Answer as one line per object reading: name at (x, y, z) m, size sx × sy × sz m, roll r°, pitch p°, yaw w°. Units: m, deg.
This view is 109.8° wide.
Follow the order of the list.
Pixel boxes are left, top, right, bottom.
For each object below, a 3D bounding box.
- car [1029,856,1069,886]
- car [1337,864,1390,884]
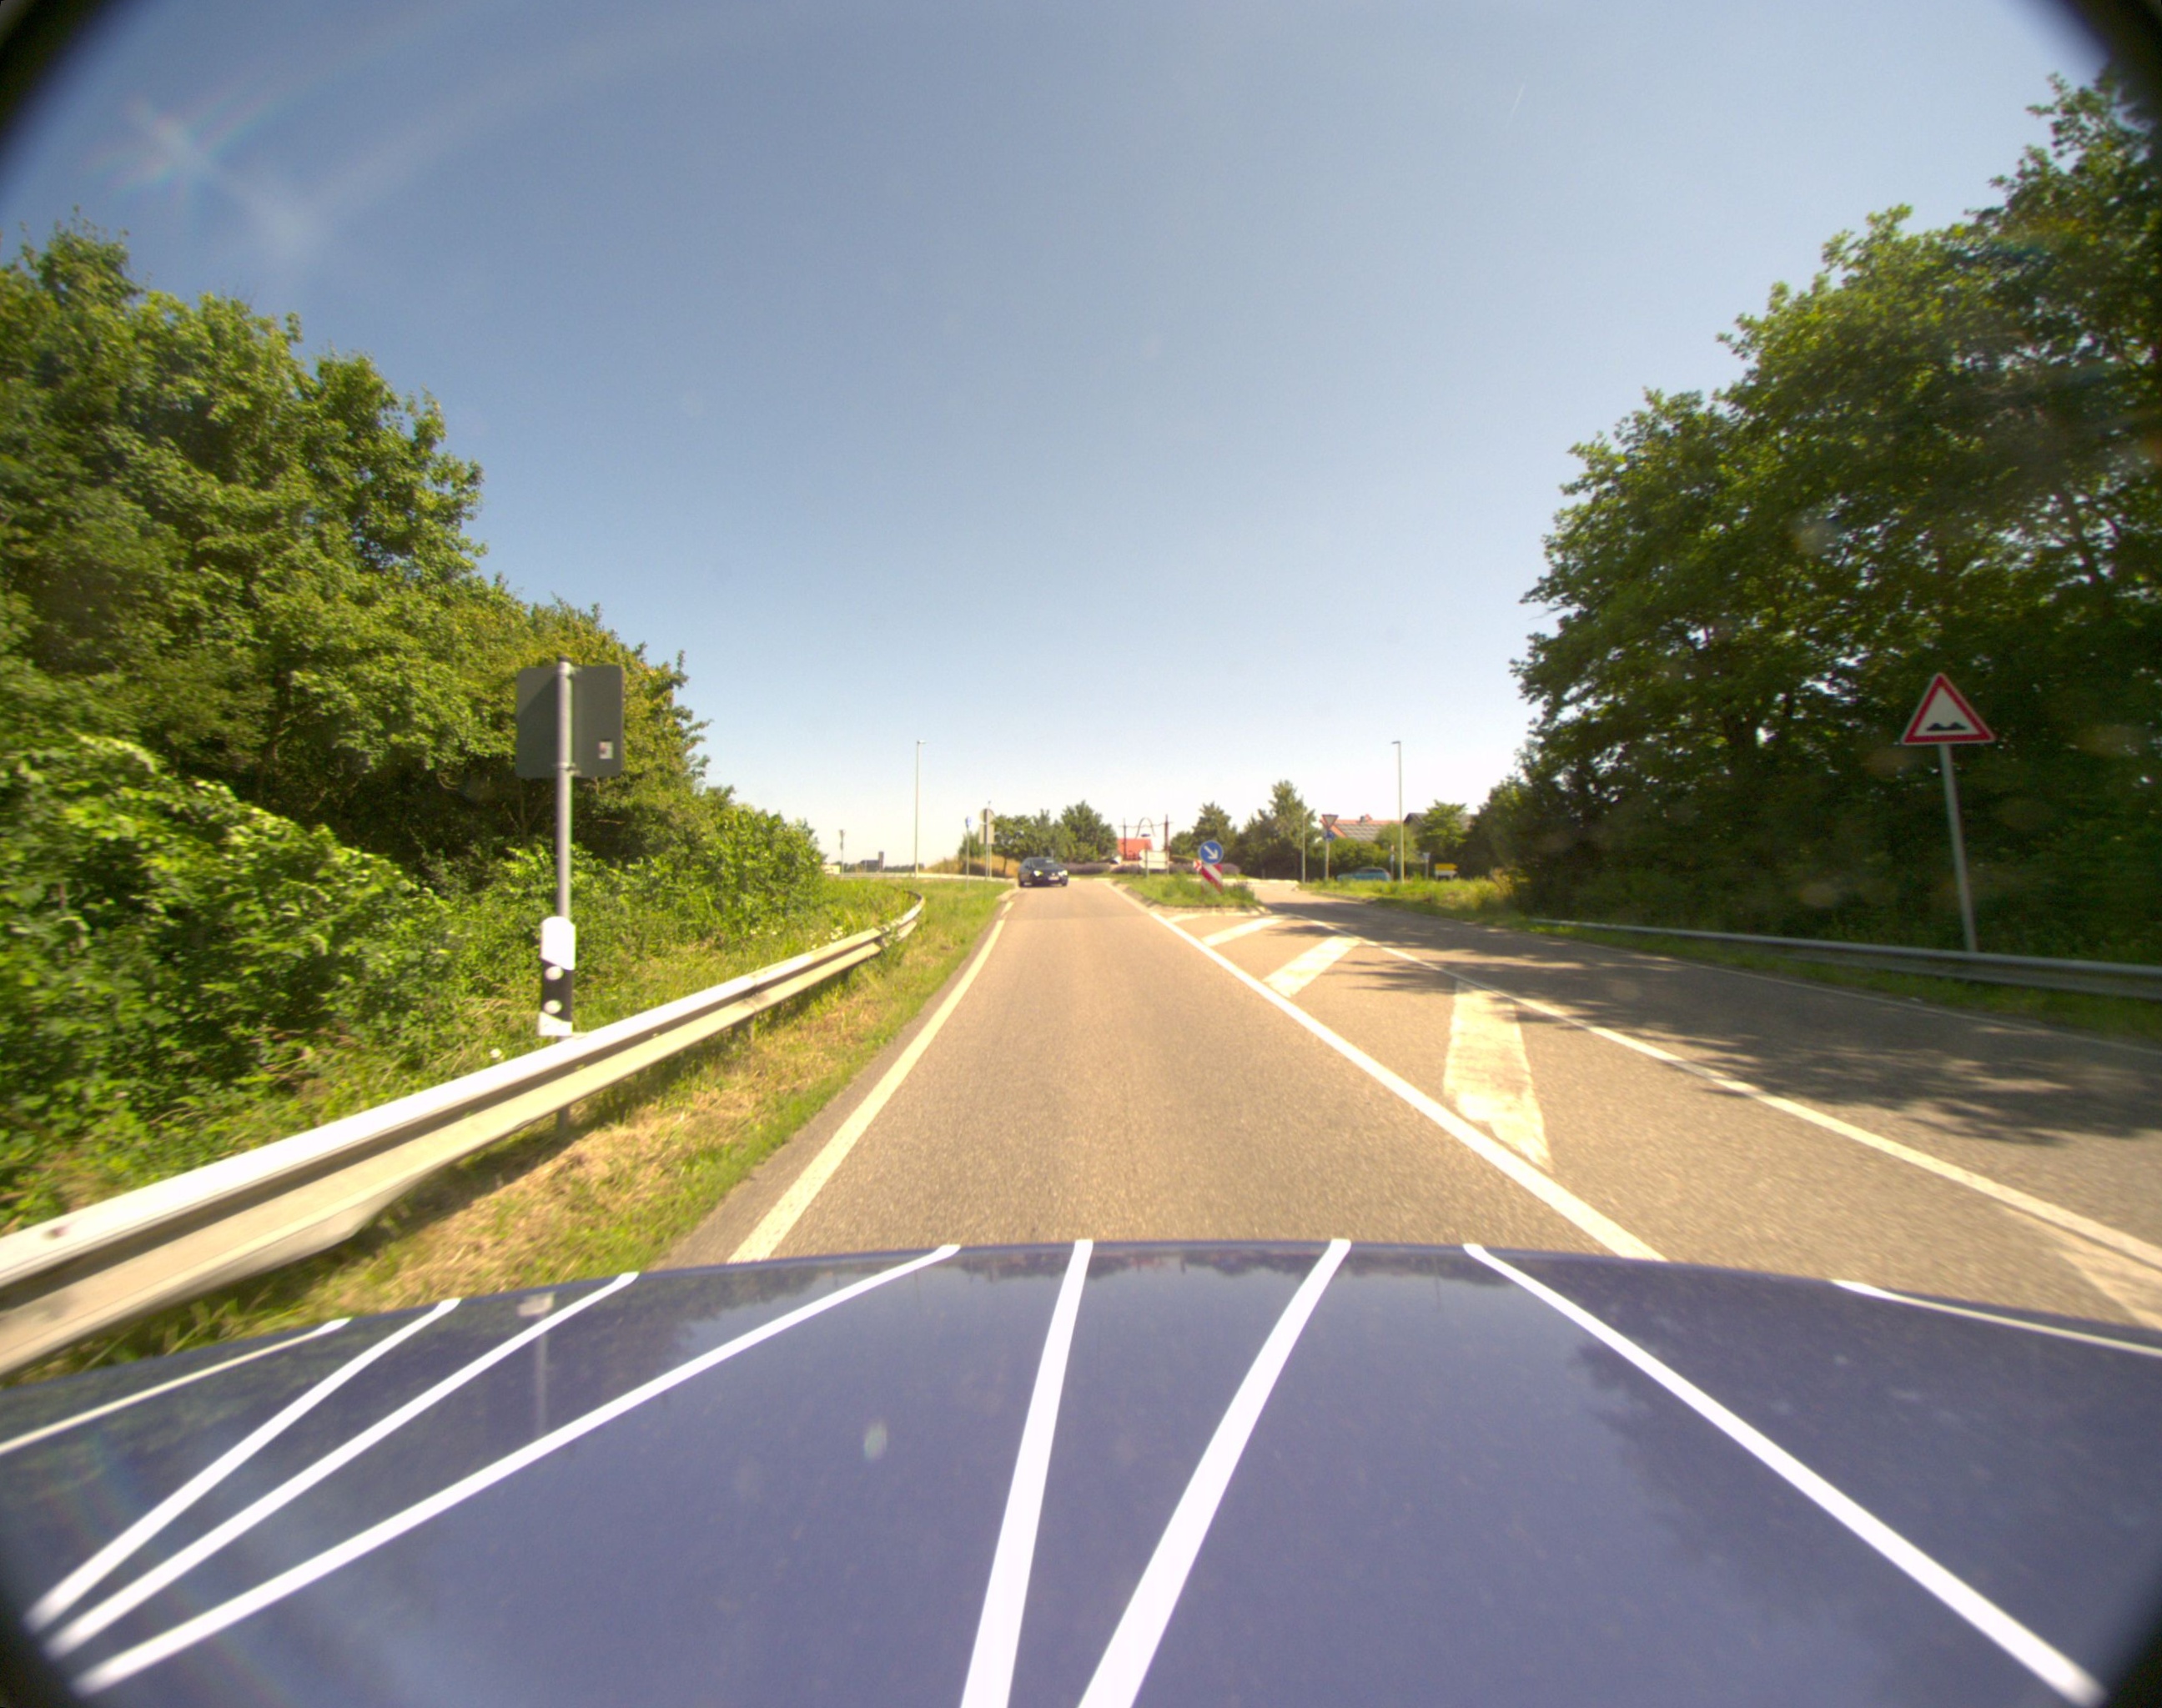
car at (-1.639, 0.815, 38.052) m, size 1.807 × 1.390 × 4.178 m, roll -1°, pitch 0°, yaw -5°
car at (23.049, 1.587, 61.954) m, size 3.990 × 1.566 × 1.652 m, roll 0°, pitch -1°, yaw 23°
